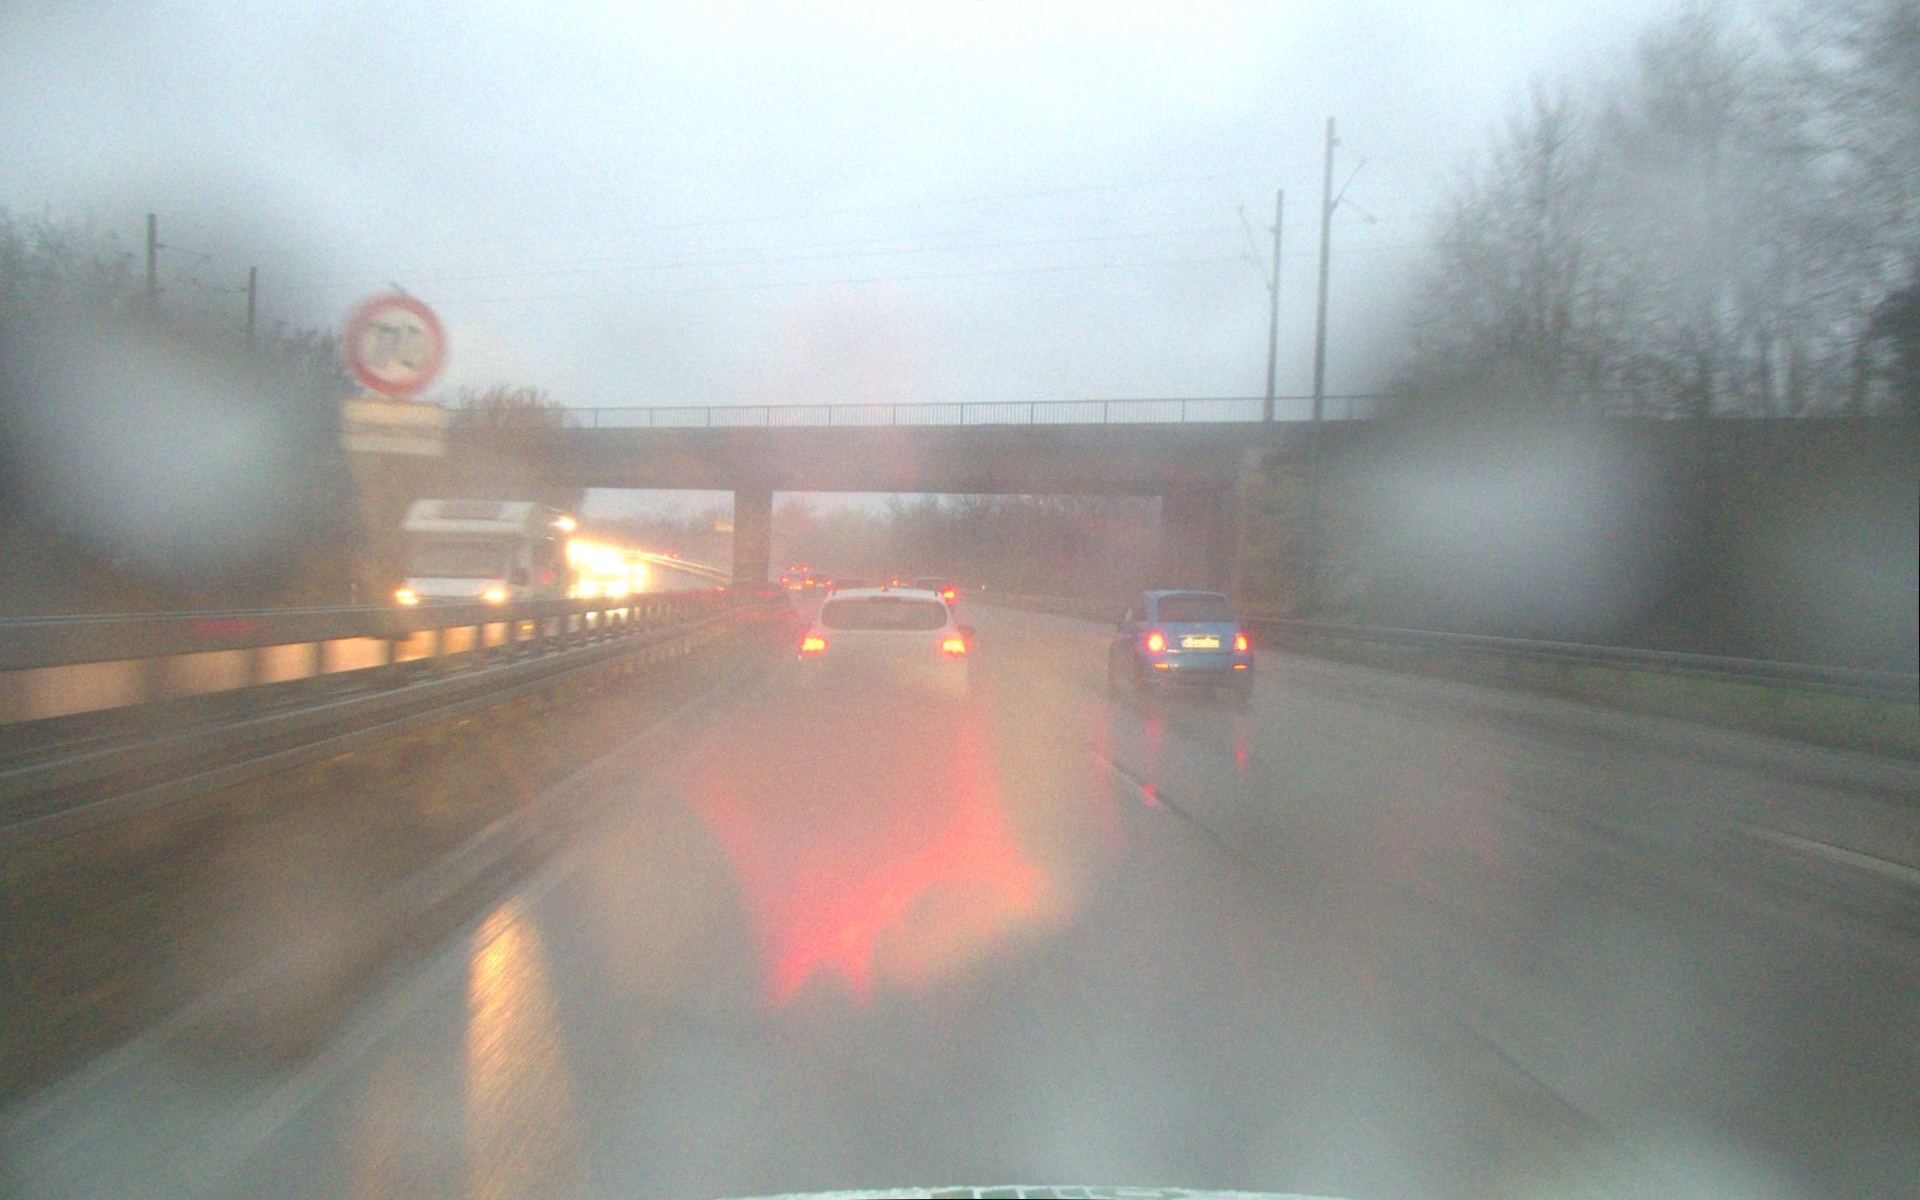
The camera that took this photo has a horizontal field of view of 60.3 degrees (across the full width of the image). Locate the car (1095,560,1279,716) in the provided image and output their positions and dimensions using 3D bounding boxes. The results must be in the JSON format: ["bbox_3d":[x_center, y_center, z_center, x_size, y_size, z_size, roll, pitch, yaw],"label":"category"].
[{"bbox_3d":[3.234,0.535,24.306,1.894,2.055,3.770,2,-1,-4],"label":"car"}]

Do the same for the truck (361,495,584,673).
[{"bbox_3d":[-9.899,-0.254,34.506,2.660,3.216,7.723,2,-1,-3],"label":"truck"}]

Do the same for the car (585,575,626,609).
[{"bbox_3d":[-18.167,-0.434,84.879,1.551,1.699,4.291,1,0,-5],"label":"car"}]

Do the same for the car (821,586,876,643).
[{"bbox_3d":[-4.307,0.547,63.459,1.955,2.049,3.995,2,-1,-5],"label":"car"}]

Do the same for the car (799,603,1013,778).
[{"bbox_3d":[-0.593,0.881,17.713,1.984,1.602,3.998,2,-1,-2],"label":"car"}]

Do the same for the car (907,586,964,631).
[{"bbox_3d":[-1.023,0.371,66.680,1.896,1.573,3.768,-4,-2,-6],"label":"car"}]
